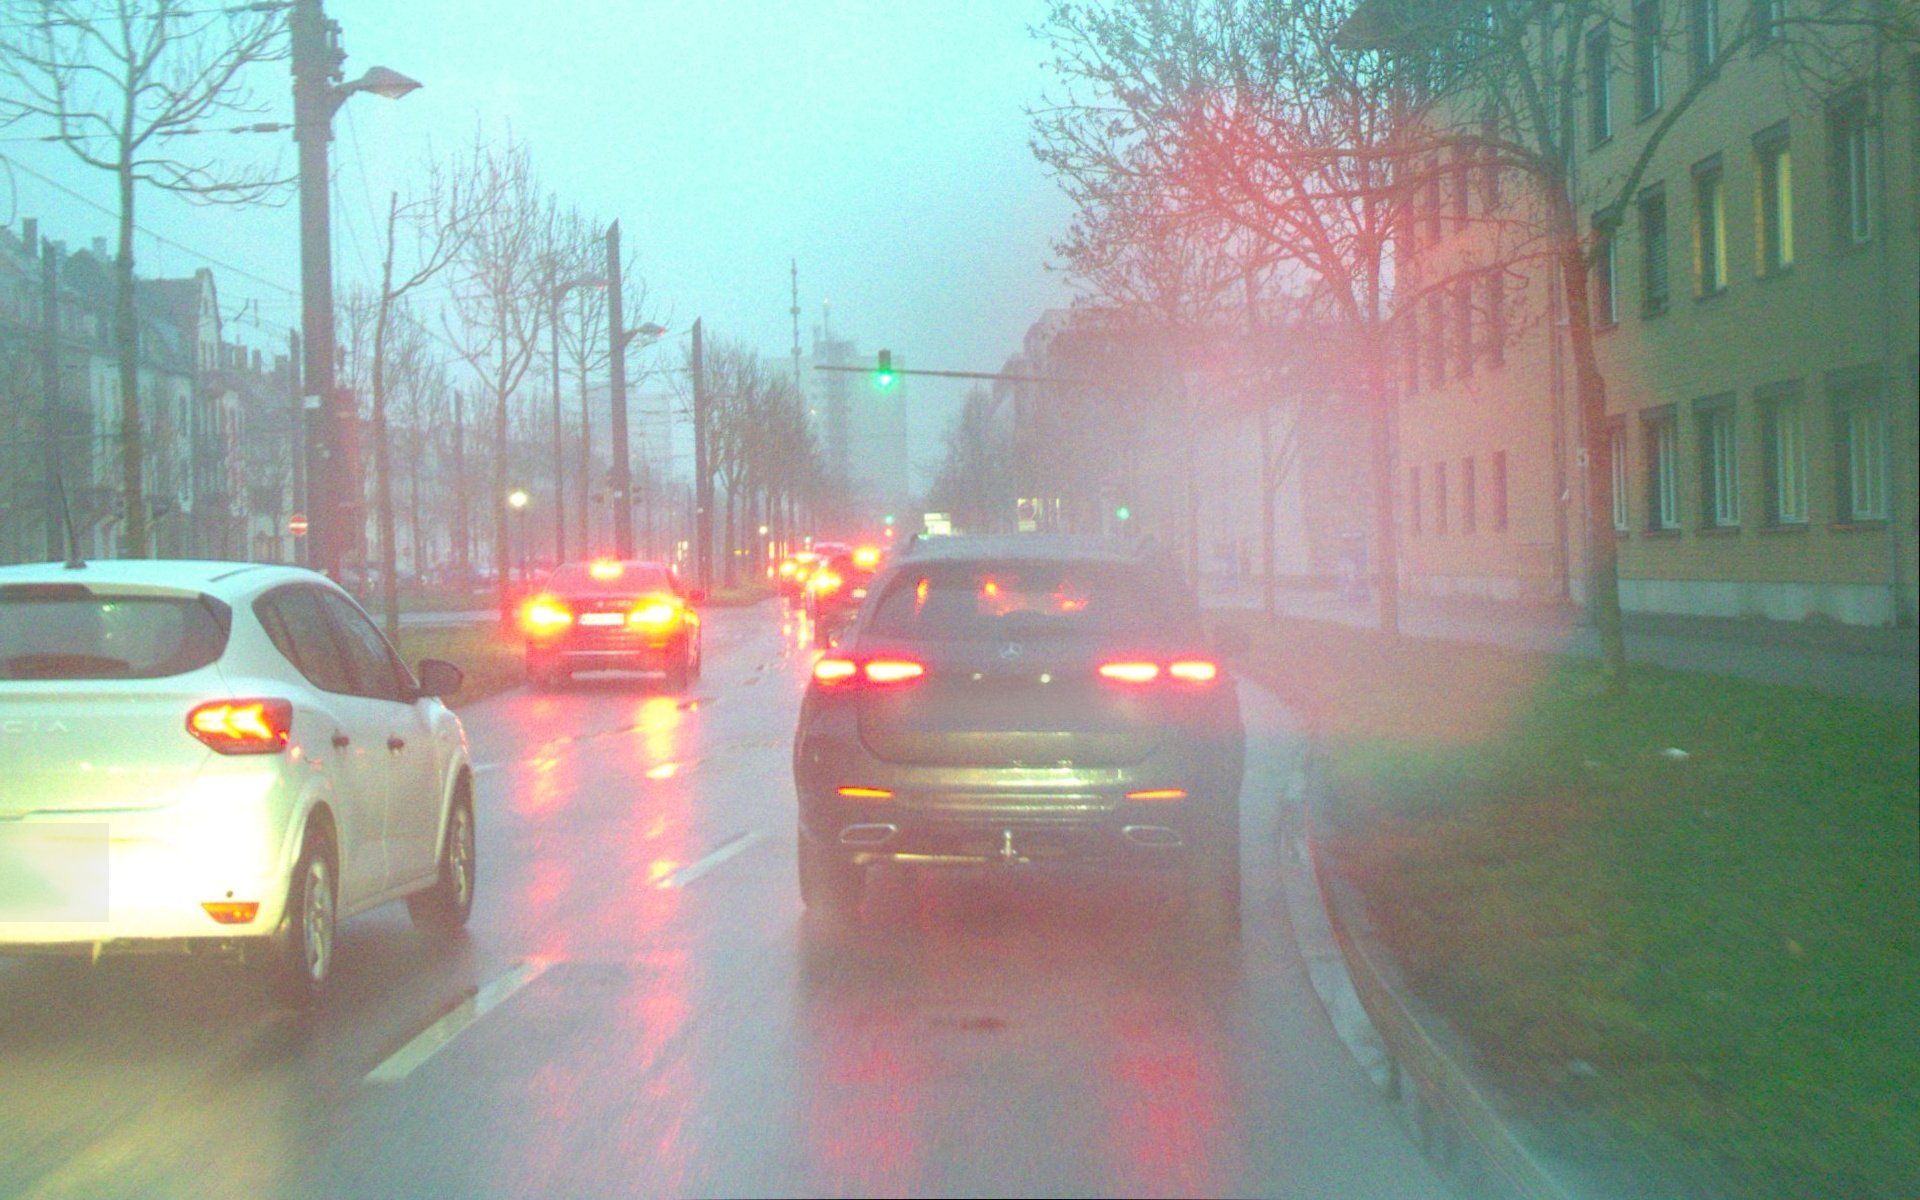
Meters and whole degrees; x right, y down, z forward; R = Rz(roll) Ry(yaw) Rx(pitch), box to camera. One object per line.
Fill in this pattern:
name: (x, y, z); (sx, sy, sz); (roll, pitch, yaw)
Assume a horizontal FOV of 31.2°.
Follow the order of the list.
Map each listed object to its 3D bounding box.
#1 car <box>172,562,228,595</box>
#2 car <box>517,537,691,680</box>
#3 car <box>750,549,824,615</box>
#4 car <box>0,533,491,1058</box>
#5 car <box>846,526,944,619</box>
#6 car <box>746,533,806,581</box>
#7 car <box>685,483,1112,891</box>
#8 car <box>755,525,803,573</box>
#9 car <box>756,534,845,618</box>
car: (-33.835, -0.962, 153.097); (1.776, 1.349, 3.557); (-2, 1, -2)
car: (-4.178, 0.061, 40.813); (1.672, 1.594, 4.054); (-1, 1, -1)
car: (-5.116, -0.553, 102.017); (1.941, 1.831, 4.000); (-2, 1, 0)
car: (-2.812, 0.573, 12.538); (1.672, 1.594, 4.054); (-1, 1, -1)
car: (-1.140, -0.502, 61.238); (1.672, 1.594, 4.054); (-1, 1, -1)
car: (-6.879, -1.616, 128.983); (1.993, 1.711, 4.000); (-2, 1, 0)
car: (-0.267, 0.315, 15.635); (1.672, 1.594, 4.054); (-1, 1, -1)
car: (-7.850, -2.234, 149.705); (1.816, 2.007, 4.000); (-2, 1, 0)
car: (-3.994, -0.631, 86.450); (1.993, 2.007, 4.000); (-2, 1, 0)
